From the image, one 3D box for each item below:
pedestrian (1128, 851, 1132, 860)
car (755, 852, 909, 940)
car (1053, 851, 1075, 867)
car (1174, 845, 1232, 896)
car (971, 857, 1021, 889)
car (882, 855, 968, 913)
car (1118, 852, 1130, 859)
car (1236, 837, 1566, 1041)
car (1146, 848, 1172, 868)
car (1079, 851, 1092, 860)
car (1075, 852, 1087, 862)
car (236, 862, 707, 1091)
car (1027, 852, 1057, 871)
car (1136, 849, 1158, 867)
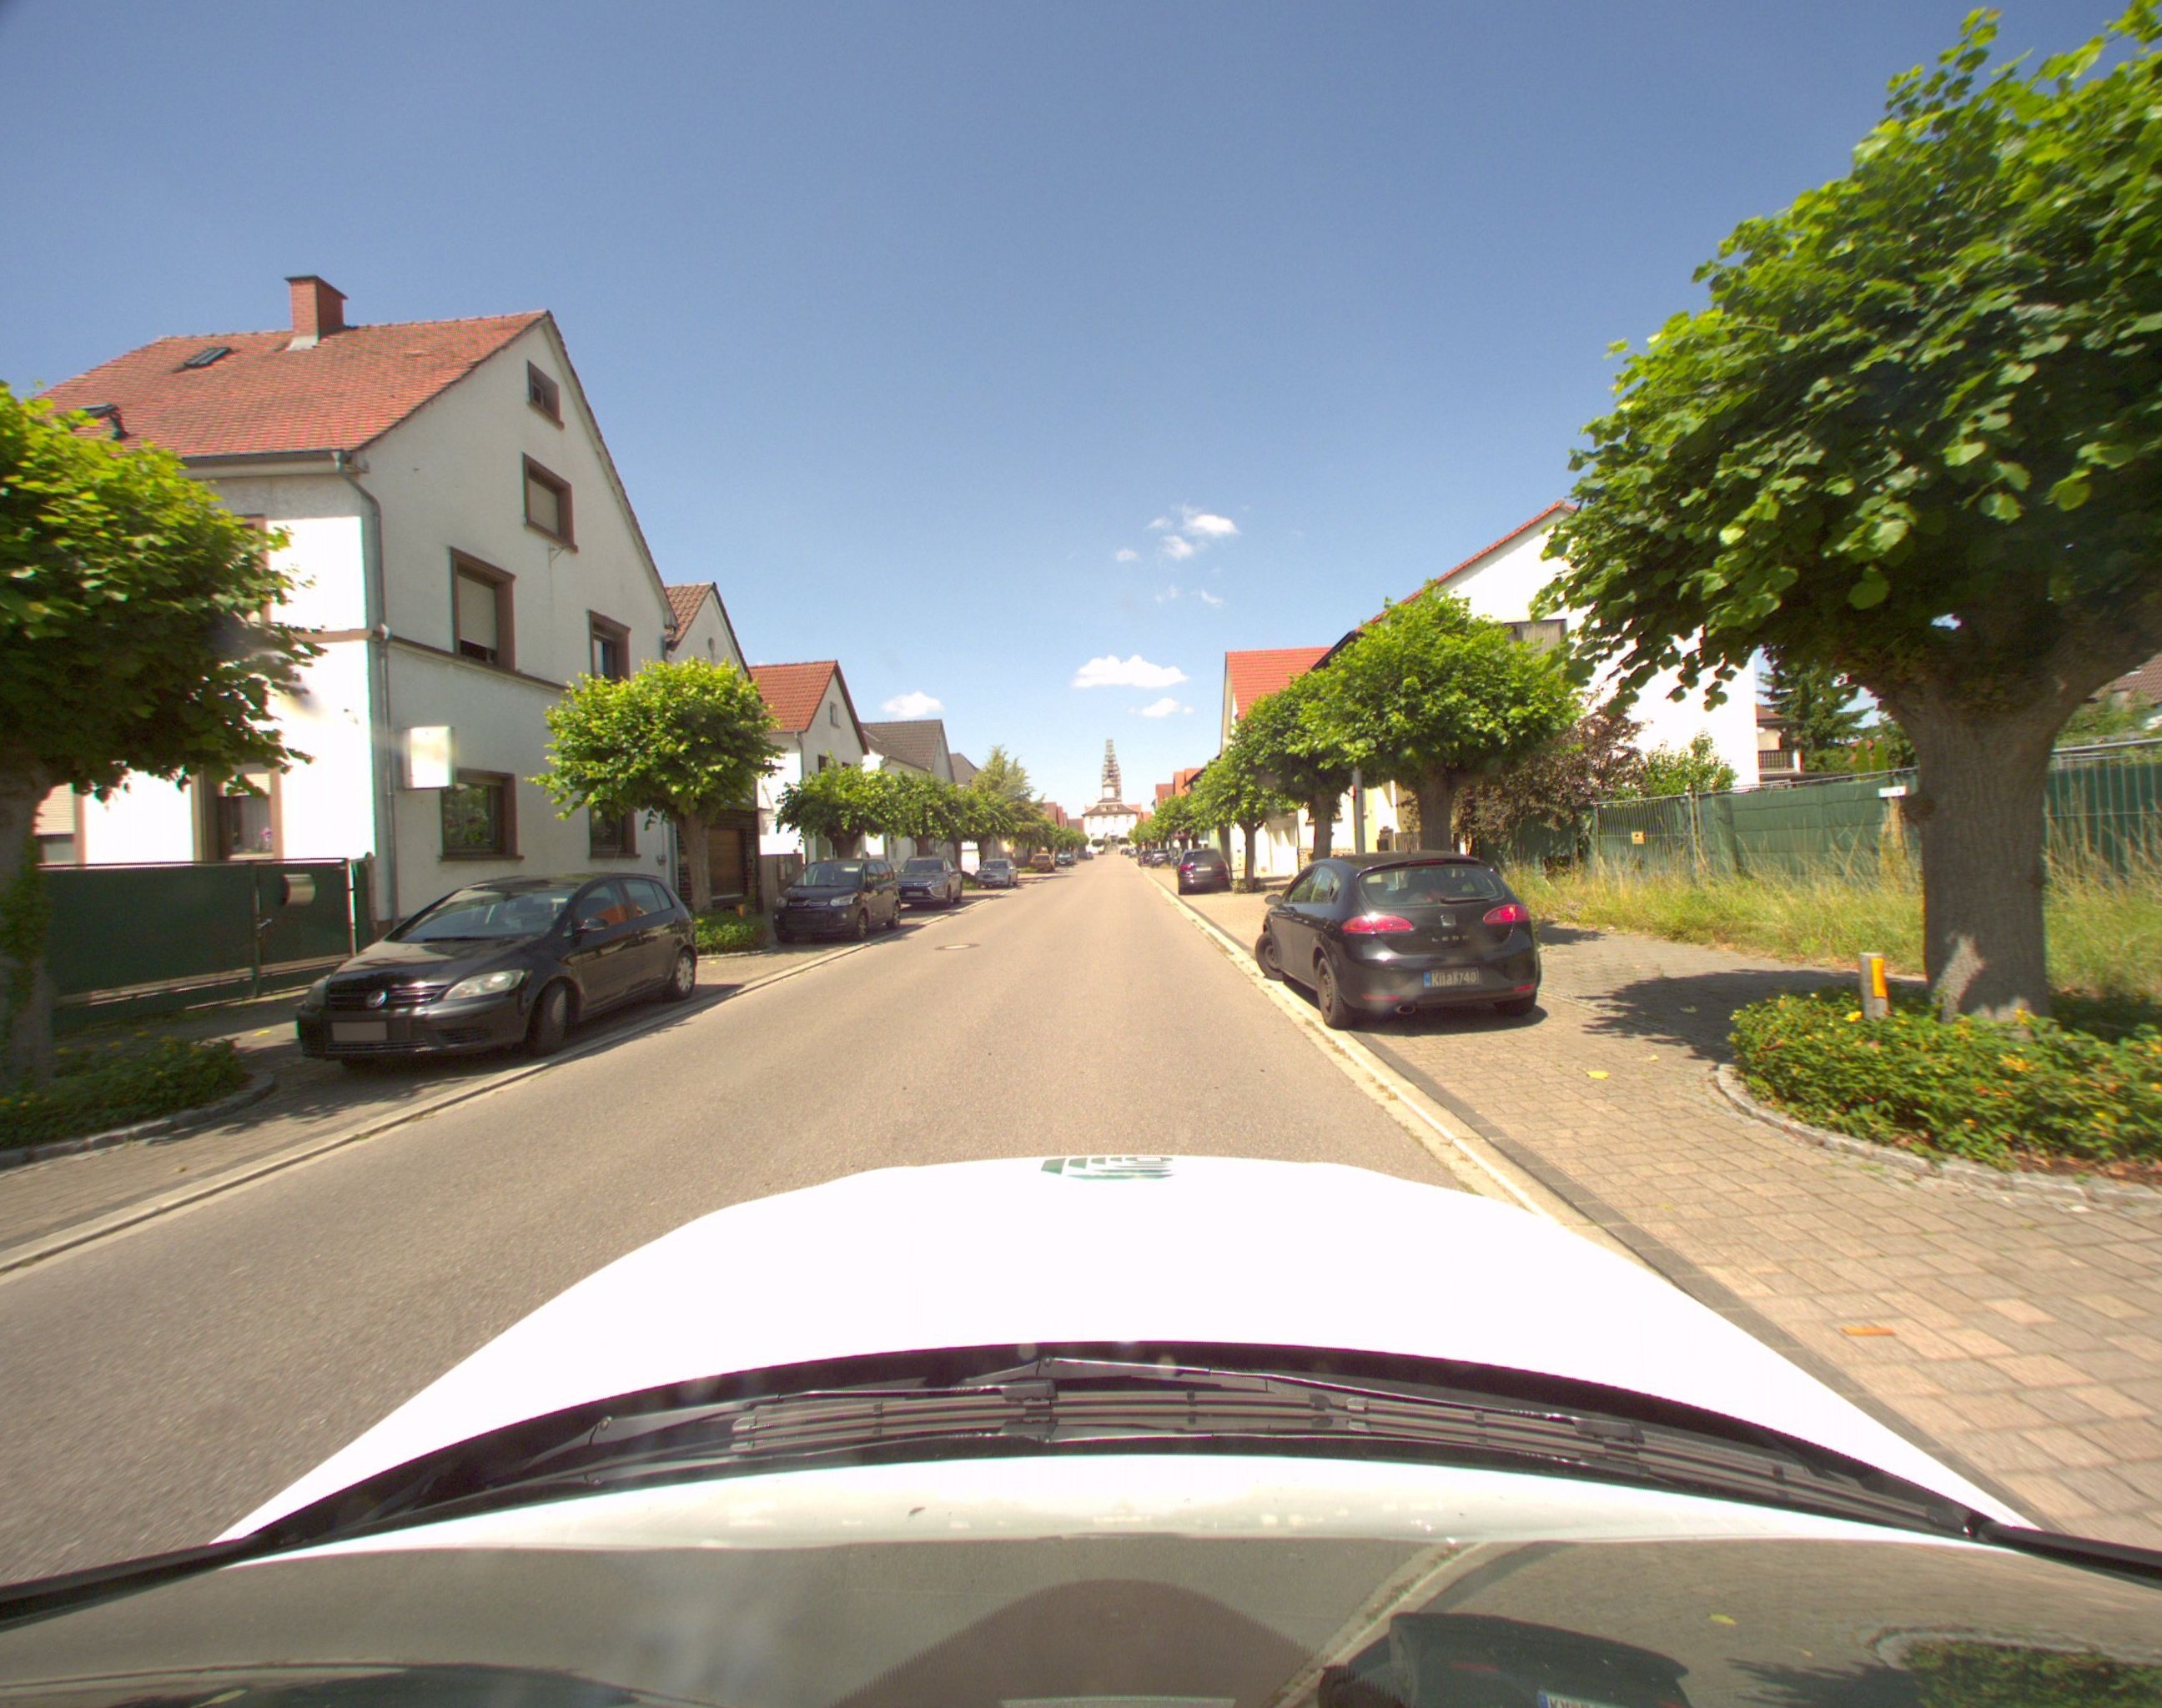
[{"bbox_3d":[7.654,0.283,126.985,0.354,1.403,0.322,-3,0,39],"label":"pedestrian"},{"bbox_3d":[-5.114,0.799,17.341,1.845,1.635,4.059,-1,0,2],"label":"car"},{"bbox_3d":[-1.886,0.546,91.843,1.985,1.611,4.693,-1,1,3],"label":"car"},{"bbox_3d":[4.316,0.522,29.358,1.815,1.586,4.064,-4,0,6],"label":"car"},{"bbox_3d":[-4.198,0.916,40.681,1.833,1.396,4.408,-2,0,2],"label":"car"},{"bbox_3d":[-4.920,0.893,26.290,1.988,1.652,4.365,-1,0,-1],"label":"car"},{"bbox_3d":[9.316,0.264,174.870,1.715,1.547,3.472,-1,-1,19],"label":"car"},{"bbox_3d":[2.840,0.639,8.287,1.817,1.432,4.059,-5,0,2],"label":"car"},{"bbox_3d":[6.665,0.325,69.880,1.831,1.607,4.001,-2,0,1],"label":"car"},{"bbox_3d":[0.726,0.241,140.645,1.985,1.611,3.858,-1,-1,3],"label":"car"},{"bbox_3d":[-0.028,0.523,134.920,1.750,1.555,4.023,-2,0,3],"label":"car"},{"bbox_3d":[-5.460,0.927,8.087,1.781,1.634,3.995,-1,0,-3],"label":"car"},{"bbox_3d":[-3.331,0.613,70.199,1.985,1.611,4.693,-1,0,3],"label":"car"},{"bbox_3d":[6.238,0.337,77.493,1.830,1.555,4.316,-4,0,2],"label":"car"}]
